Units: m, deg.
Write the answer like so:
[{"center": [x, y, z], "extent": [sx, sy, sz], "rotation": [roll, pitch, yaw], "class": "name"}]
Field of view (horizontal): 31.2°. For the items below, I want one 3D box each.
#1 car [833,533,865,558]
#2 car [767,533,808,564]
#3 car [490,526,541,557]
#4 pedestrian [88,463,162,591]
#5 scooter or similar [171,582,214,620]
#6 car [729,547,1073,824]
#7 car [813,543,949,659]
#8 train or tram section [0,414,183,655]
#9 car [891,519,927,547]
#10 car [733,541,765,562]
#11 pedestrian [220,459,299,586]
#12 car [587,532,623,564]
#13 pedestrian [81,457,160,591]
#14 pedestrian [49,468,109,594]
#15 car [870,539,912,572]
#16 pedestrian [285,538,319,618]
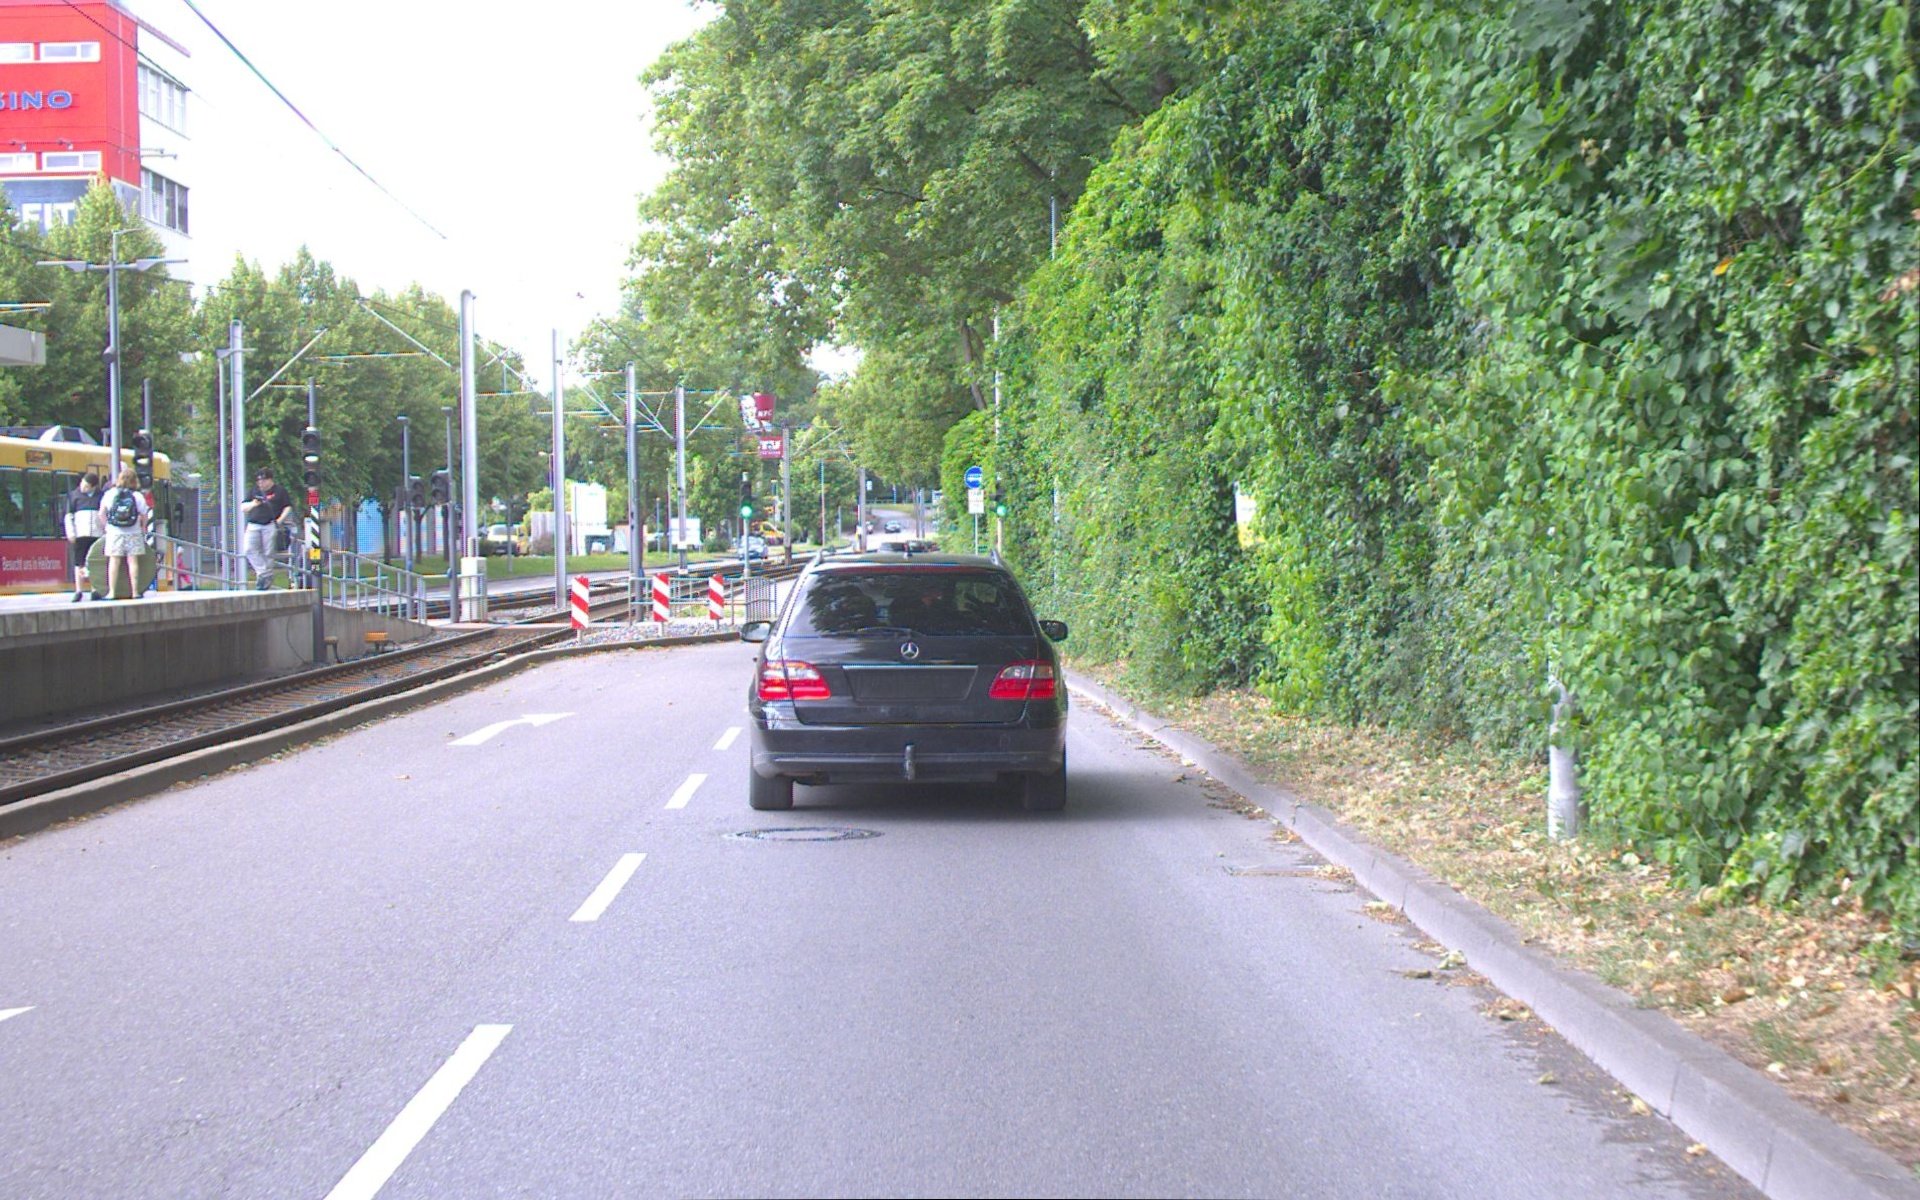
[{"center": [-7.018, -3.442, 217.652], "extent": [1.825, 1.524, 3.986], "rotation": [0, 1, 1], "class": "car"}, {"center": [-8.712, -2.614, 173.596], "extent": [1.825, 1.524, 3.928], "rotation": [0, 1, 1], "class": "car"}, {"center": [-25.541, -3.375, 197.578], "extent": [1.994, 1.737, 4.987], "rotation": [-1, 1, 3], "class": "car"}, {"center": [-9.746, -0.854, 40.142], "extent": [0.520, 1.477, 0.580], "rotation": [-2, 1, 37], "class": "pedestrian"}, {"center": [-16.291, 0.021, 72.971], "extent": [0.496, 0.765, 0.798], "rotation": [-2, 1, 20], "class": "scooter or similar"}, {"center": [-0.324, 0.429, 20.550], "extent": [1.833, 1.473, 4.416], "rotation": [0, 1, 0], "class": "car"}, {"center": [-1.125, -0.021, 48.535], "extent": [1.825, 1.524, 4.416], "rotation": [0, 1, -1], "class": "car"}, {"center": [-16.517, -1.017, 56.797], "extent": [2.756, 3.815, 18.631], "rotation": [-2, 1, 1], "class": "train or tram section"}, {"center": [-2.754, -3.618, 185.010], "extent": [1.825, 1.524, 3.928], "rotation": [0, 1, 1], "class": "car"}, {"center": [-14.220, -3.269, 231.695], "extent": [1.660, 1.388, 3.718], "rotation": [0, 1, 4], "class": "car"}, {"center": [-9.485, -1.045, 46.599], "extent": [0.873, 1.672, 0.745], "rotation": [-2, 1, -2], "class": "pedestrian"}, {"center": [-23.595, -3.445, 228.630], "extent": [1.993, 2.007, 4.000], "rotation": [-2, 1, -1], "class": "car"}, {"center": [-10.734, -0.965, 43.981], "extent": [0.771, 1.672, 0.791], "rotation": [-2, 1, -1], "class": "pedestrian"}, {"center": [-10.495, -0.820, 40.948], "extent": [0.475, 1.478, 0.542], "rotation": [-3, 1, -33], "class": "pedestrian"}, {"center": [-3.261, -2.130, 163.034], "extent": [1.825, 1.524, 4.416], "rotation": [-1, 1, 1], "class": "car"}, {"center": [-13.832, -0.455, 72.258], "extent": [0.517, 1.656, 0.465], "rotation": [-2, 1, 10], "class": "pedestrian"}]
